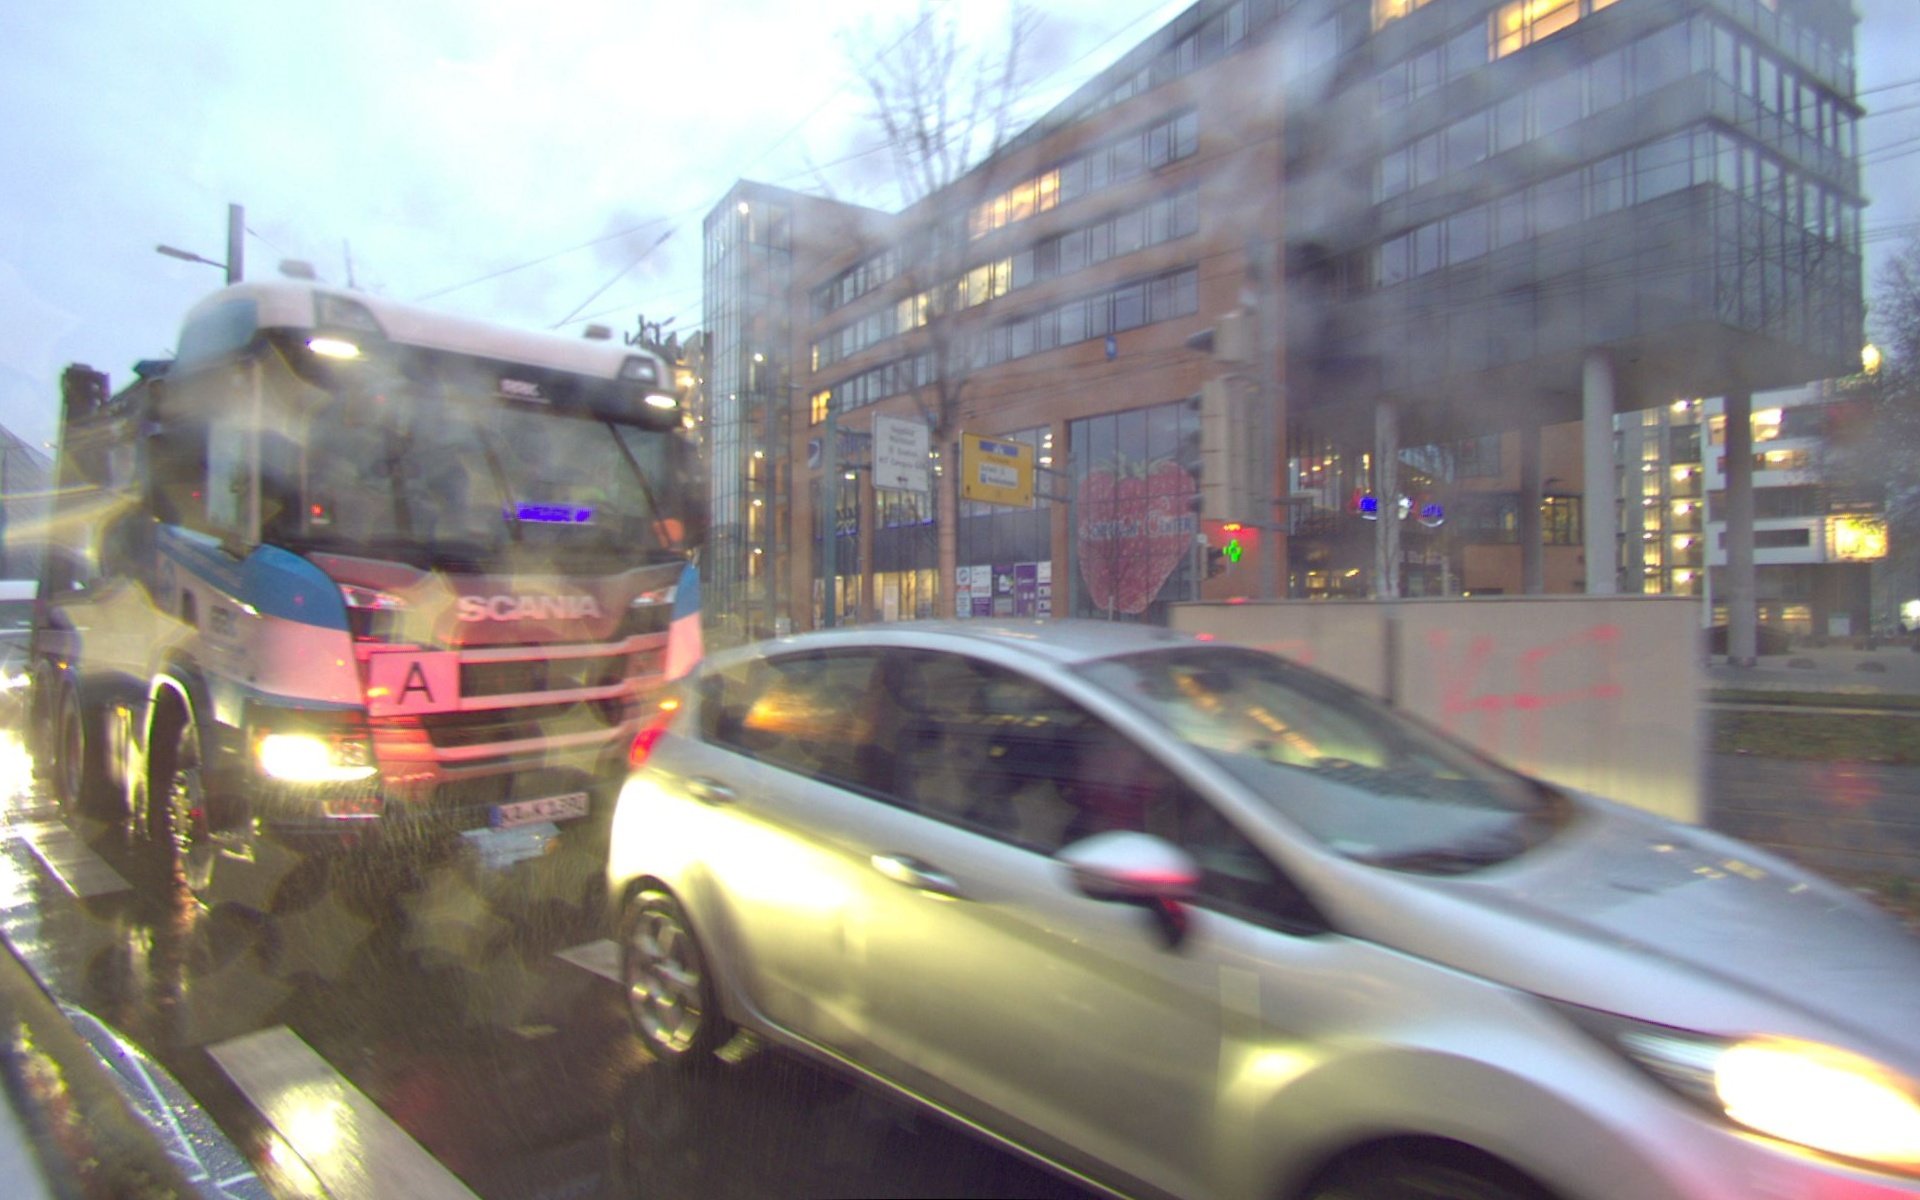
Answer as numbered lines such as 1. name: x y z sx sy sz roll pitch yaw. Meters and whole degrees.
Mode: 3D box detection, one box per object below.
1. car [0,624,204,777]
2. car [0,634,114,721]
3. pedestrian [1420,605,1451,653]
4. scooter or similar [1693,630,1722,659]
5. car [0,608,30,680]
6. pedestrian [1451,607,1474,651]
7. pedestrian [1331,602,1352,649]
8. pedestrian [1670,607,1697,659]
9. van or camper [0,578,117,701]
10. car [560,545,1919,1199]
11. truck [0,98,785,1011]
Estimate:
1. car: -11.828 1.226 13.765 3.940 1.535 1.613 4 1 41
2. car: -16.399 1.303 17.910 4.057 1.355 1.736 -2 -2 43
3. pedestrian: 17.454 1.063 37.165 0.782 1.766 0.704 0 -2 -1
4. scooter or similar: 25.213 1.500 34.140 0.545 0.968 0.667 2 -3 -43
5. car: -40.954 1.821 41.922 5.795 2.885 2.107 -1 -2 32
6. pedestrian: 20.183 1.162 40.616 0.703 1.766 0.564 -2 -2 39
7. pedestrian: 14.576 0.963 38.642 0.658 1.766 0.534 -1 -2 12
8. pedestrian: 24.770 1.129 34.642 0.564 1.787 0.638 2 -3 -43
9. van or camper: -21.779 0.894 23.680 5.894 2.551 2.126 -2 -2 40
10. car: 0.654 0.664 2.884 3.998 1.458 1.688 -1 0 41
11. truck: -4.836 -0.107 7.571 7.521 3.661 2.810 -1 -2 40
